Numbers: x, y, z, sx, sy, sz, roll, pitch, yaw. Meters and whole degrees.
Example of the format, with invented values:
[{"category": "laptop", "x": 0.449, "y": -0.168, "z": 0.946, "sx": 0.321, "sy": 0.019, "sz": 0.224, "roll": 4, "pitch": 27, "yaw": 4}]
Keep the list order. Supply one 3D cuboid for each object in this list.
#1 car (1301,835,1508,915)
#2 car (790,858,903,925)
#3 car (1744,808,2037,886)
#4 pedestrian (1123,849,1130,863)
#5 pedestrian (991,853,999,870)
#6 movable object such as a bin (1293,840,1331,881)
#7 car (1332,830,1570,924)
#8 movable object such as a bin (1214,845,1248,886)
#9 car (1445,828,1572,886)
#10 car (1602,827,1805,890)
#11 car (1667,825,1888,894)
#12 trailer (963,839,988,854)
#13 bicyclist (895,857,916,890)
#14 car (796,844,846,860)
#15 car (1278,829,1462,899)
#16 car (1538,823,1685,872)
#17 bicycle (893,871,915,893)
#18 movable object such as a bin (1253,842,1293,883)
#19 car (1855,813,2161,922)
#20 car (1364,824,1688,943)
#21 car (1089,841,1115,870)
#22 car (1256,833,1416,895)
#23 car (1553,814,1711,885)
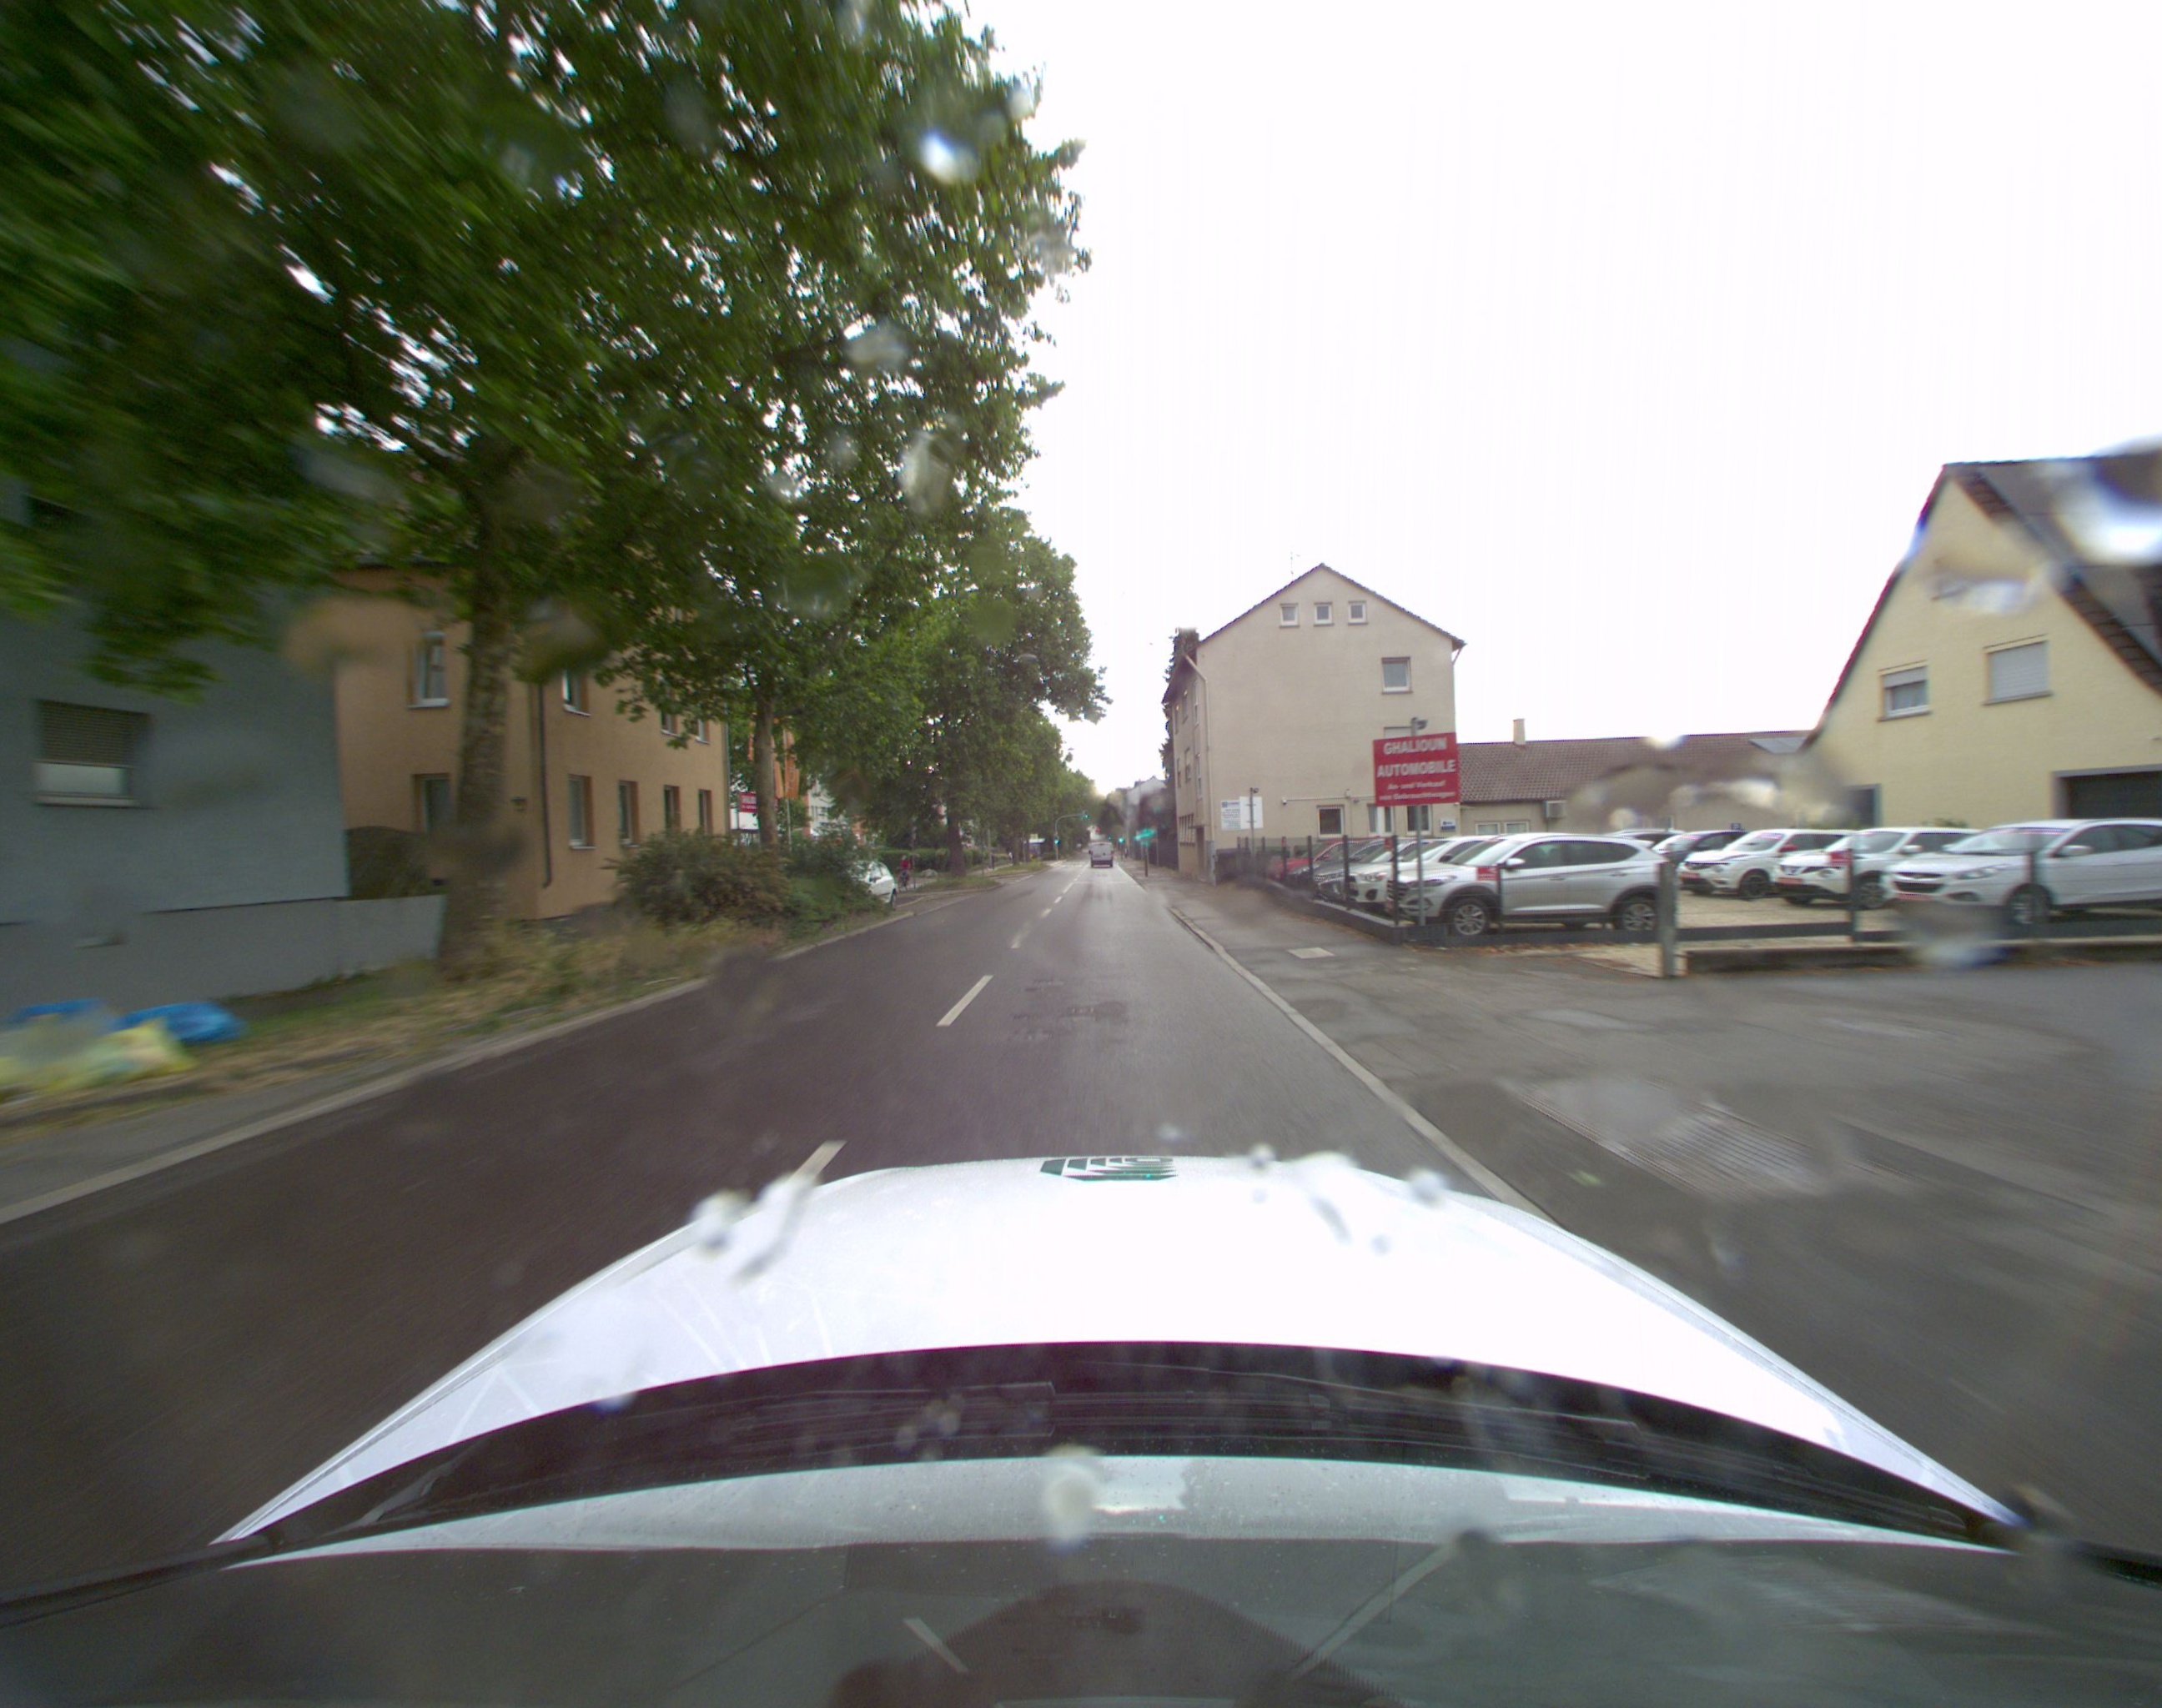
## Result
[{"category": "car", "x": 7.354, "y": 0.473, "z": 18.828, "sx": 4.052, "sy": 1.736, "sz": 1.870, "roll": 0, "pitch": -1, "yaw": 1}, {"category": "car", "x": -6.294, "y": 0.936, "z": 22.398, "sx": 1.779, "sy": 1.551, "sz": 4.352, "roll": -1, "pitch": 0, "yaw": 1}, {"category": "car", "x": 16.207, "y": -0.120, "z": 16.483, "sx": 3.974, "sy": 1.468, "sz": 1.999, "roll": 0, "pitch": -1, "yaw": -1}, {"category": "pedestrian", "x": 5.672, "y": 0.231, "z": 102.447, "sx": 0.741, "sy": 1.704, "sz": 0.900, "roll": 0, "pitch": -1, "yaw": -4}, {"category": "pedestrian", "x": -8.191, "y": 0.711, "z": 77.781, "sx": 0.753, "sy": 1.611, "sz": 0.834, "roll": 0, "pitch": -1, "yaw": -3}, {"category": "movable object such as a bin", "x": 9.171, "y": 0.265, "z": 32.374, "sx": 1.106, "sy": 1.509, "sz": 1.010, "roll": -4, "pitch": -1, "yaw": 0}, {"category": "car", "x": 7.218, "y": 0.439, "z": 16.191, "sx": 3.934, "sy": 1.724, "sz": 1.791, "roll": 0, "pitch": -1, "yaw": 1}, {"category": "movable object such as a bin", "x": 5.978, "y": 0.457, "z": 32.486, "sx": 1.106, "sy": 1.509, "sz": 0.987, "roll": -4, "pitch": -1, "yaw": 0}, {"category": "car", "x": 12.274, "y": 0.115, "z": 23.642, "sx": 1.802, "sy": 1.530, "sz": 3.628, "roll": 0, "pitch": -1, "yaw": 1}, {"category": "car", "x": 16.536, "y": 0.125, "z": 21.784, "sx": 4.071, "sy": 1.600, "sz": 1.794, "roll": 0, "pitch": -1, "yaw": -1}, {"category": "car", "x": 16.197, "y": 0.120, "z": 19.061, "sx": 3.754, "sy": 1.532, "sz": 1.757, "roll": 0, "pitch": 0, "yaw": -3}, {"category": "trailer", "x": -12.091, "y": -0.822, "z": 93.331, "sx": 2.694, "sy": 1.645, "sz": 1.481, "roll": -1, "pitch": 0, "yaw": 2}, {"category": "bicyclist", "x": -8.327, "y": 0.929, "z": 38.679, "sx": 0.830, "sy": 1.553, "sz": 0.816, "roll": 0, "pitch": -1, "yaw": 0}, {"category": "car", "x": -24.019, "y": -0.186, "z": 75.287, "sx": 3.970, "sy": 1.415, "sz": 1.850, "roll": 0, "pitch": -1, "yaw": 3}, {"category": "car", "x": 7.525, "y": 0.275, "z": 21.493, "sx": 4.213, "sy": 1.736, "sz": 1.870, "roll": 0, "pitch": -1, "yaw": 1}, {"category": "car", "x": 18.297, "y": -0.195, "z": 28.292, "sx": 3.954, "sy": 1.593, "sz": 1.830, "roll": -1, "pitch": -1, "yaw": 18}, {"category": "bicycle", "x": -8.342, "y": 1.321, "z": 38.467, "sx": 0.552, "sy": 0.996, "sz": 2.265, "roll": 0, "pitch": -1, "yaw": 0}, {"category": "movable object such as a bin", "x": 7.631, "y": 0.345, "z": 32.391, "sx": 1.230, "sy": 1.509, "sz": 1.111, "roll": -4, "pitch": -1, "yaw": 0}, {"category": "car", "x": 16.059, "y": 0.189, "z": 13.580, "sx": 4.487, "sy": 1.626, "sz": 1.870, "roll": -2, "pitch": 0, "yaw": 1}, {"category": "car", "x": 7.199, "y": 0.471, "z": 13.541, "sx": 4.287, "sy": 1.768, "sz": 2.000, "roll": -1, "pitch": -1, "yaw": 1}, {"category": "car", "x": 1.955, "y": 0.132, "z": 75.799, "sx": 2.274, "sy": 2.553, "sz": 4.001, "roll": -2, "pitch": -1, "yaw": 2}, {"category": "car", "x": 7.493, "y": 0.305, "z": 24.230, "sx": 4.213, "sy": 1.736, "sz": 1.870, "roll": 0, "pitch": -1, "yaw": 1}, {"category": "car", "x": 16.367, "y": -0.126, "z": 24.315, "sx": 3.569, "sy": 2.014, "sz": 1.723, "roll": 0, "pitch": -1, "yaw": -2}]
